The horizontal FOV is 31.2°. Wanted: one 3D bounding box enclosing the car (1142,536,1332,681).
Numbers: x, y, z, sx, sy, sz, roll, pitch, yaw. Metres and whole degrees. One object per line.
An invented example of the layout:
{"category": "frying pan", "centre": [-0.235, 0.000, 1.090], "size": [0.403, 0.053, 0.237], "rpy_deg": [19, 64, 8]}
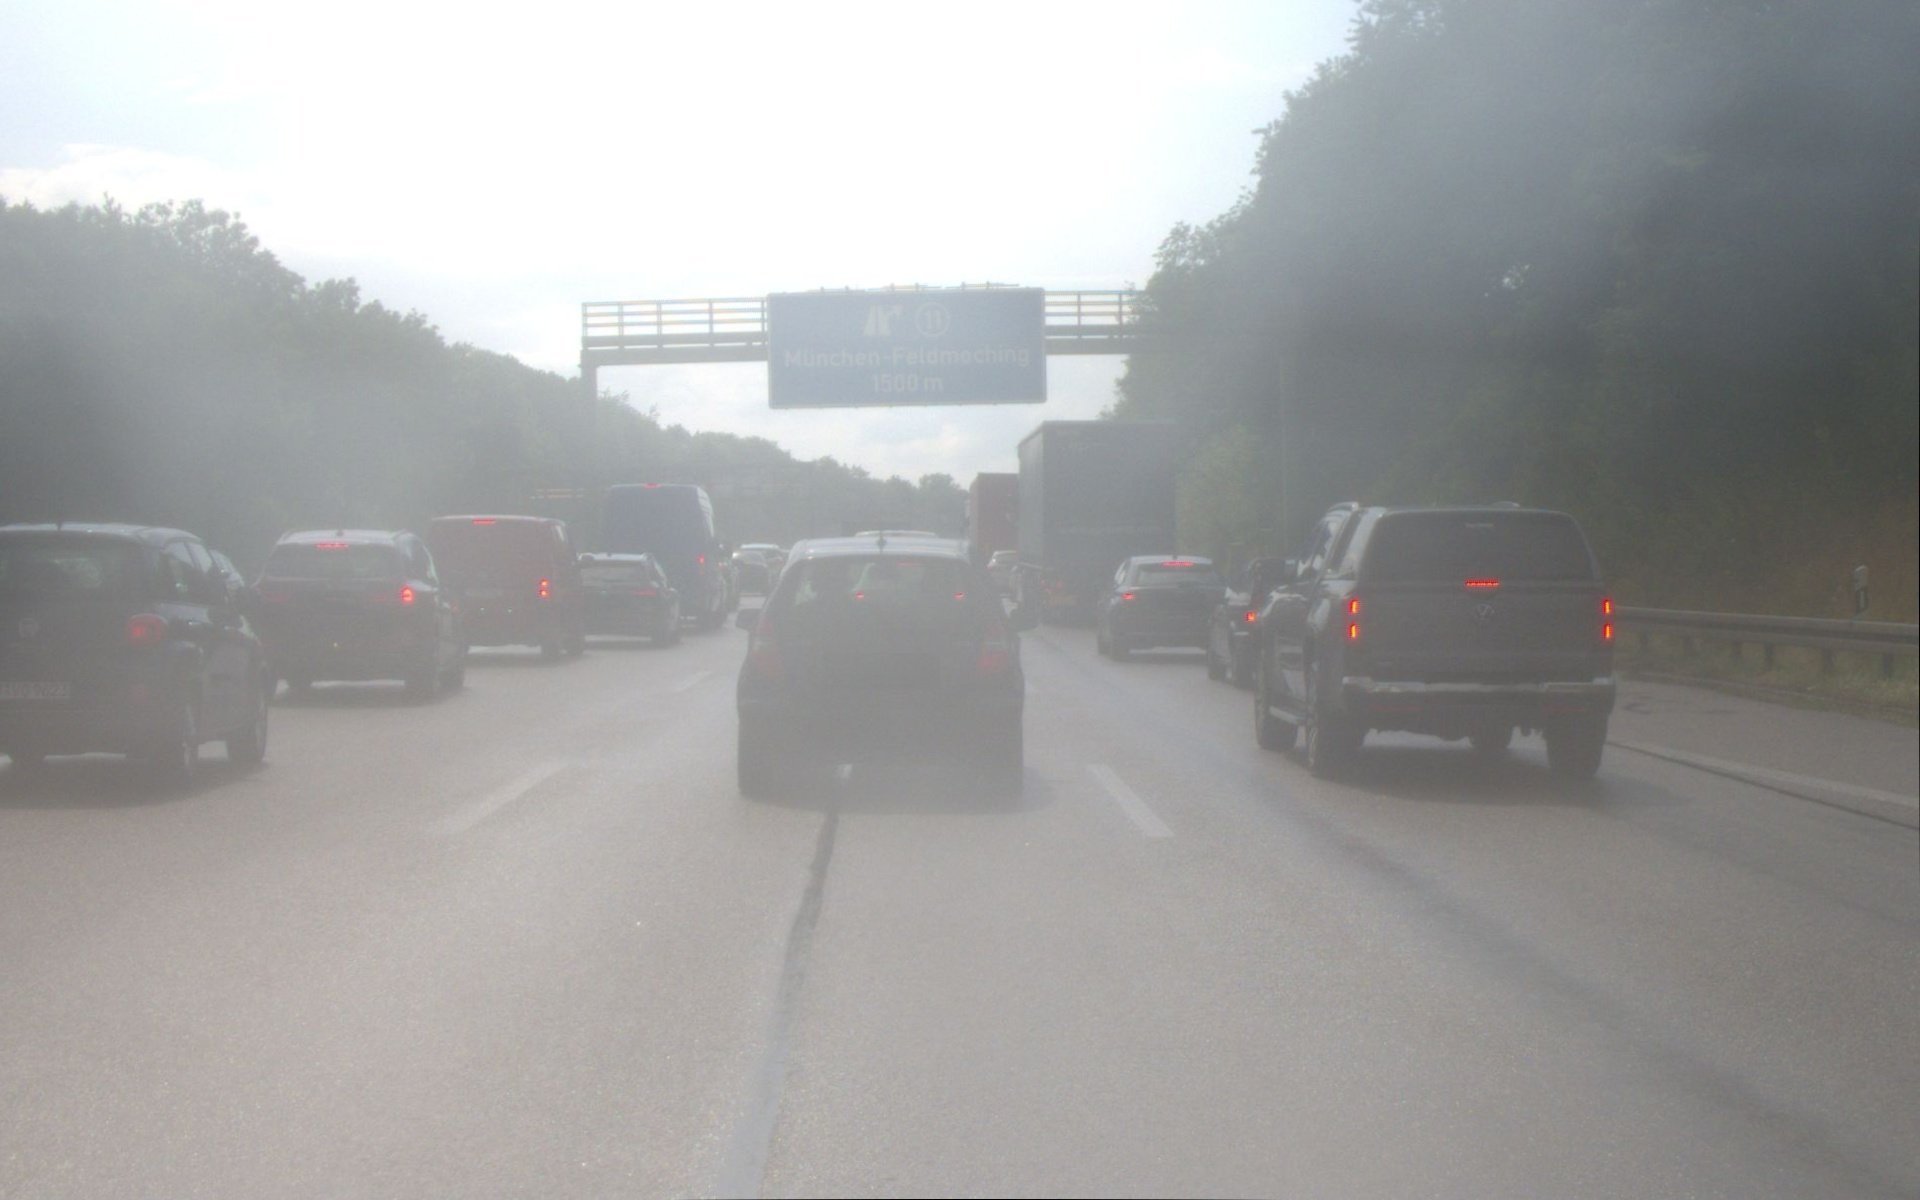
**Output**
{"category": "car", "centre": [3.036, 0.073, 38.307], "size": [1.590, 1.511, 3.976], "rpy_deg": [1, 0, -3]}

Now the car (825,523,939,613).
{"category": "car", "centre": [-1.414, -0.558, 60.642], "size": [1.864, 1.511, 3.976], "rpy_deg": [1, 0, -3]}

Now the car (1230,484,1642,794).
{"category": "car", "centre": [3.185, 0.219, 24.216], "size": [1.941, 1.912, 5.652], "rpy_deg": [1, 0, -2]}

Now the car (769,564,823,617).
{"category": "car", "centre": [-6.634, -0.399, 139.329], "size": [1.993, 2.108, 4.889], "rpy_deg": [1, 0, -1]}

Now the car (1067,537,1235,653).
{"category": "car", "centre": [2.582, -0.084, 47.260], "size": [1.864, 1.511, 3.976], "rpy_deg": [1, 0, -3]}

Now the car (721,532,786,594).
{"category": "car", "centre": [-7.123, -1.272, 118.990], "size": [1.993, 2.108, 4.889], "rpy_deg": [1, 0, -1]}

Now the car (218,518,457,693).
{"category": "car", "centre": [-6.262, 0.028, 35.036], "size": [1.908, 1.631, 4.617], "rpy_deg": [-1, 1, -4]}

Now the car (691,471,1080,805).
{"category": "car", "centre": [-0.540, 0.204, 22.679], "size": [2.274, 1.948, 4.822], "rpy_deg": [1, 0, -2]}

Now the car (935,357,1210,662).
{"category": "car", "centre": [2.109, -1.807, 74.525], "size": [4.403, 5.810, 16.820], "rpy_deg": [1, 0, -3]}

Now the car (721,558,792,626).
{"category": "car", "centre": [-6.493, -0.259, 110.104], "size": [1.993, 2.108, 4.889], "rpy_deg": [1, 0, -1]}

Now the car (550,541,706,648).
{"category": "car", "centre": [-5.099, -0.100, 53.343], "size": [1.993, 1.559, 4.756], "rpy_deg": [1, 0, -1]}

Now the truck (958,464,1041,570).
{"category": "truck", "centre": [1.373, -2.902, 121.693], "size": [2.775, 3.619, 5.917], "rpy_deg": [1, 0, -1]}

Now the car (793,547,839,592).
{"category": "car", "centre": [-6.873, -1.453, 164.465], "size": [1.993, 2.108, 4.889], "rpy_deg": [1, 0, -1]}

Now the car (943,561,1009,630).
{"category": "car", "centre": [0.474, -0.162, 108.761], "size": [1.993, 2.108, 4.889], "rpy_deg": [1, 0, -1]}

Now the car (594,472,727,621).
{"category": "car", "centre": [-5.456, -0.967, 63.180], "size": [1.993, 2.606, 5.260], "rpy_deg": [1, 0, -1]}

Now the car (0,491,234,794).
{"category": "car", "centre": [-5.750, 0.232, 22.433], "size": [1.692, 1.798, 3.977], "rpy_deg": [1, 0, -8]}

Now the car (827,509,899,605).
{"category": "car", "centre": [-2.850, -1.260, 101.854], "size": [1.993, 2.737, 5.260], "rpy_deg": [1, 0, -1]}

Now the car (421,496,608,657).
{"category": "car", "centre": [-5.996, -0.322, 46.765], "size": [1.978, 2.047, 4.756], "rpy_deg": [1, 0, -1]}
